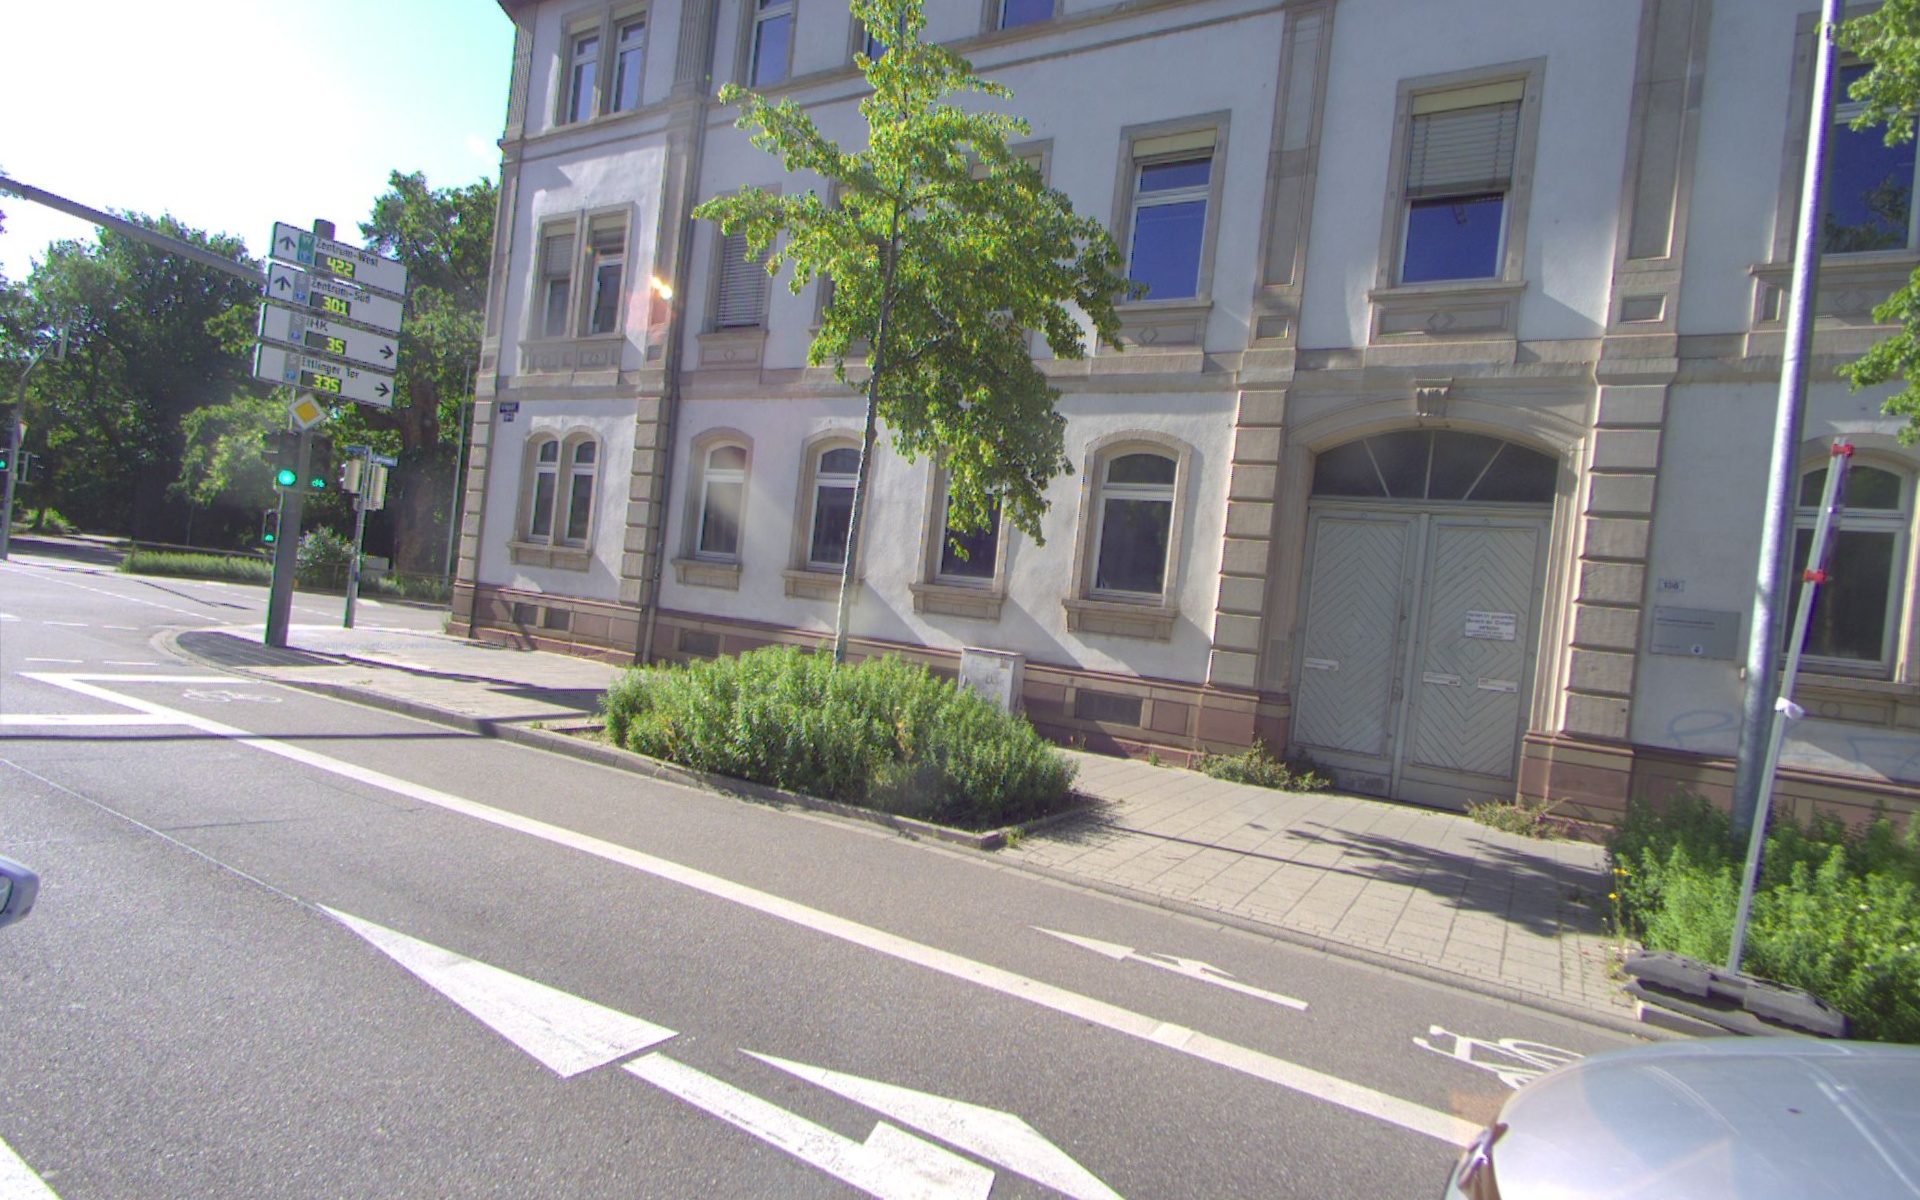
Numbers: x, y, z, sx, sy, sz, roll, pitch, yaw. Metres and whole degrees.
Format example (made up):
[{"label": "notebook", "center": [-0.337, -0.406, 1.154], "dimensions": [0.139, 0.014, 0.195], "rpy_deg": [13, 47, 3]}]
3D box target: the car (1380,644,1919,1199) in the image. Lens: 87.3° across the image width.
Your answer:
[{"label": "car", "center": [2.619, 1.090, 0.945], "dimensions": [3.939, 1.545, 1.753], "rpy_deg": [6, -2, 32]}]
